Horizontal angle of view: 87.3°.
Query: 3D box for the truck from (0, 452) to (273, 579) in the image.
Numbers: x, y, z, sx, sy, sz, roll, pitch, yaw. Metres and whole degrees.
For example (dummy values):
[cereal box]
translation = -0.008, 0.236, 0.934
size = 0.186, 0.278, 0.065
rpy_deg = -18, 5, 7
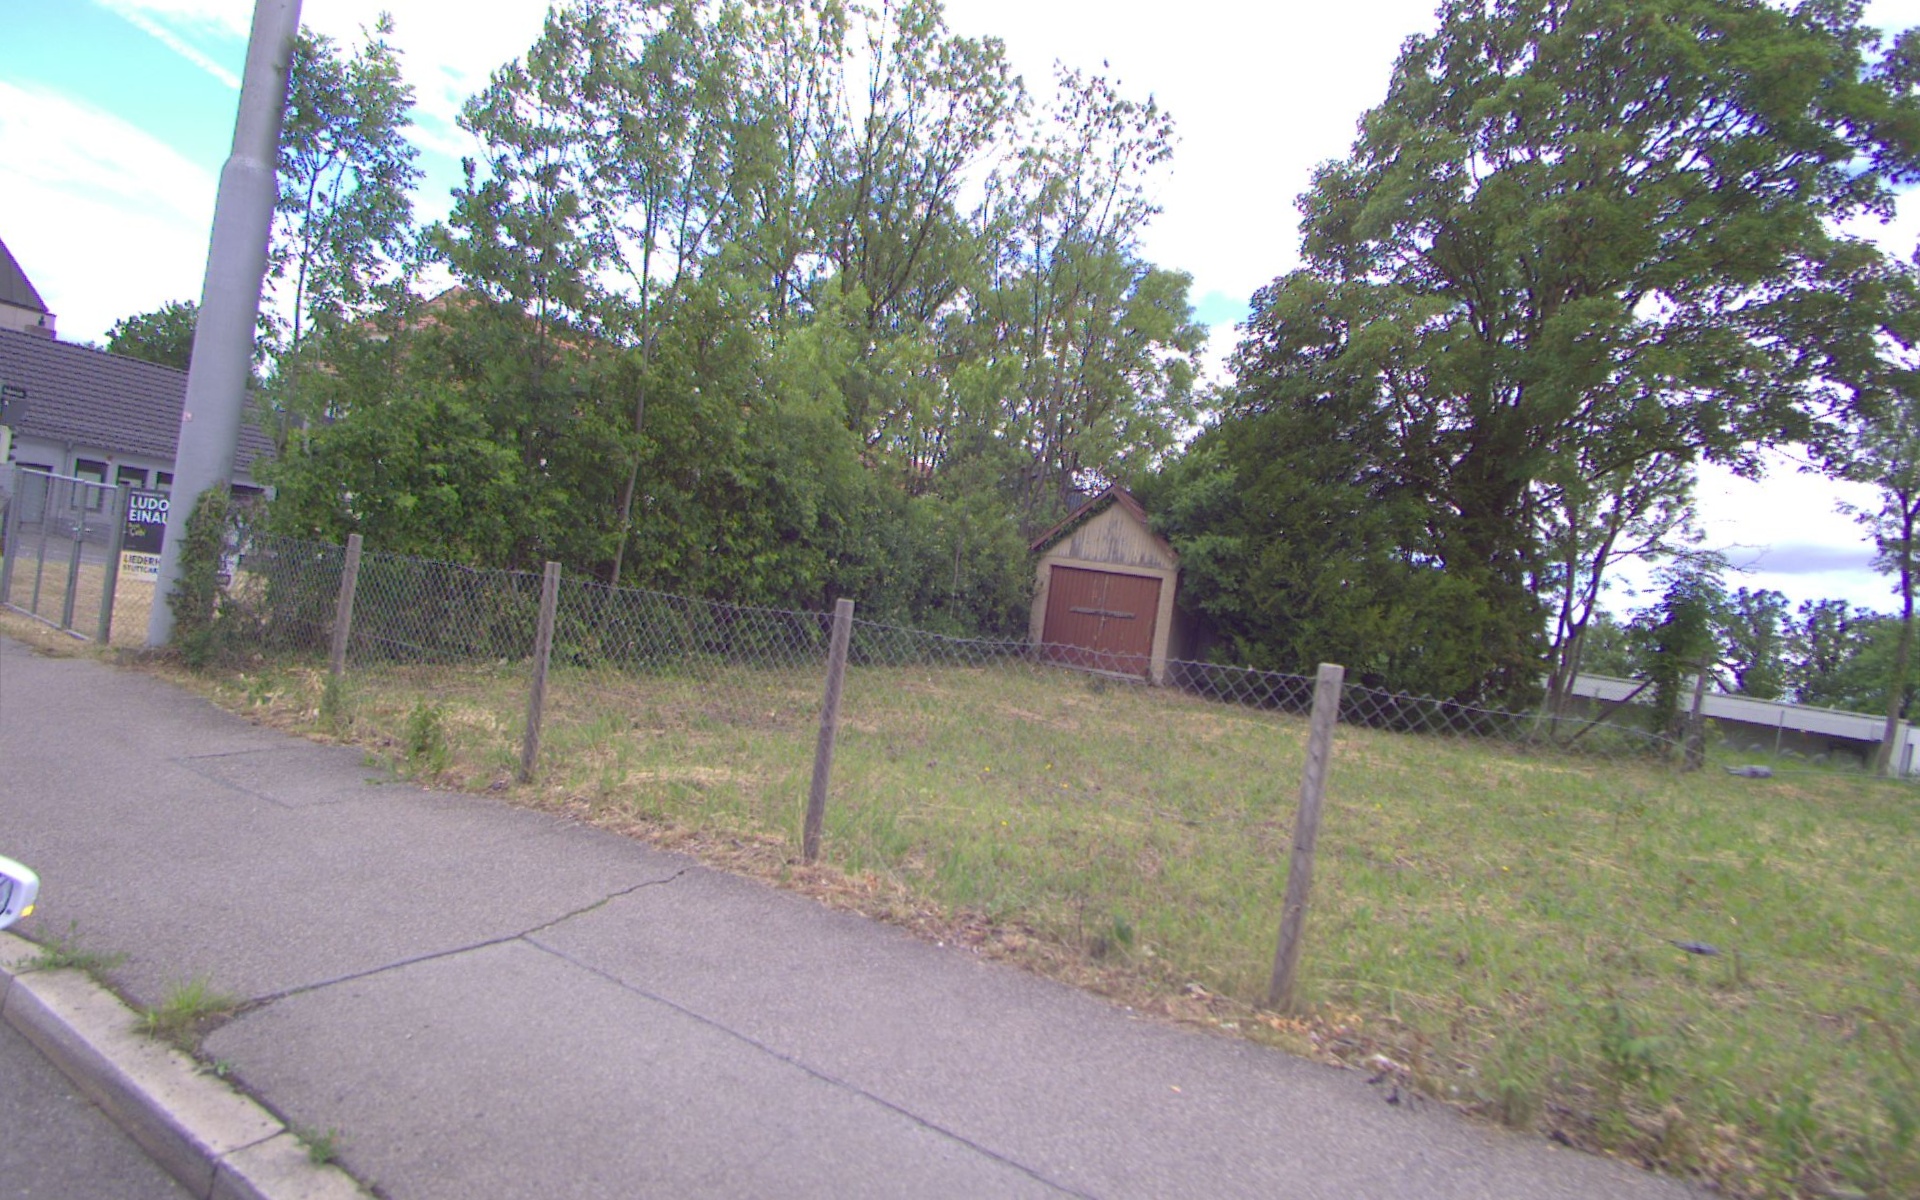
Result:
[truck]
translation = -26.184, -2.559, 32.230
size = 1.966, 2.730, 6.405
rpy_deg = 7, -4, 31
